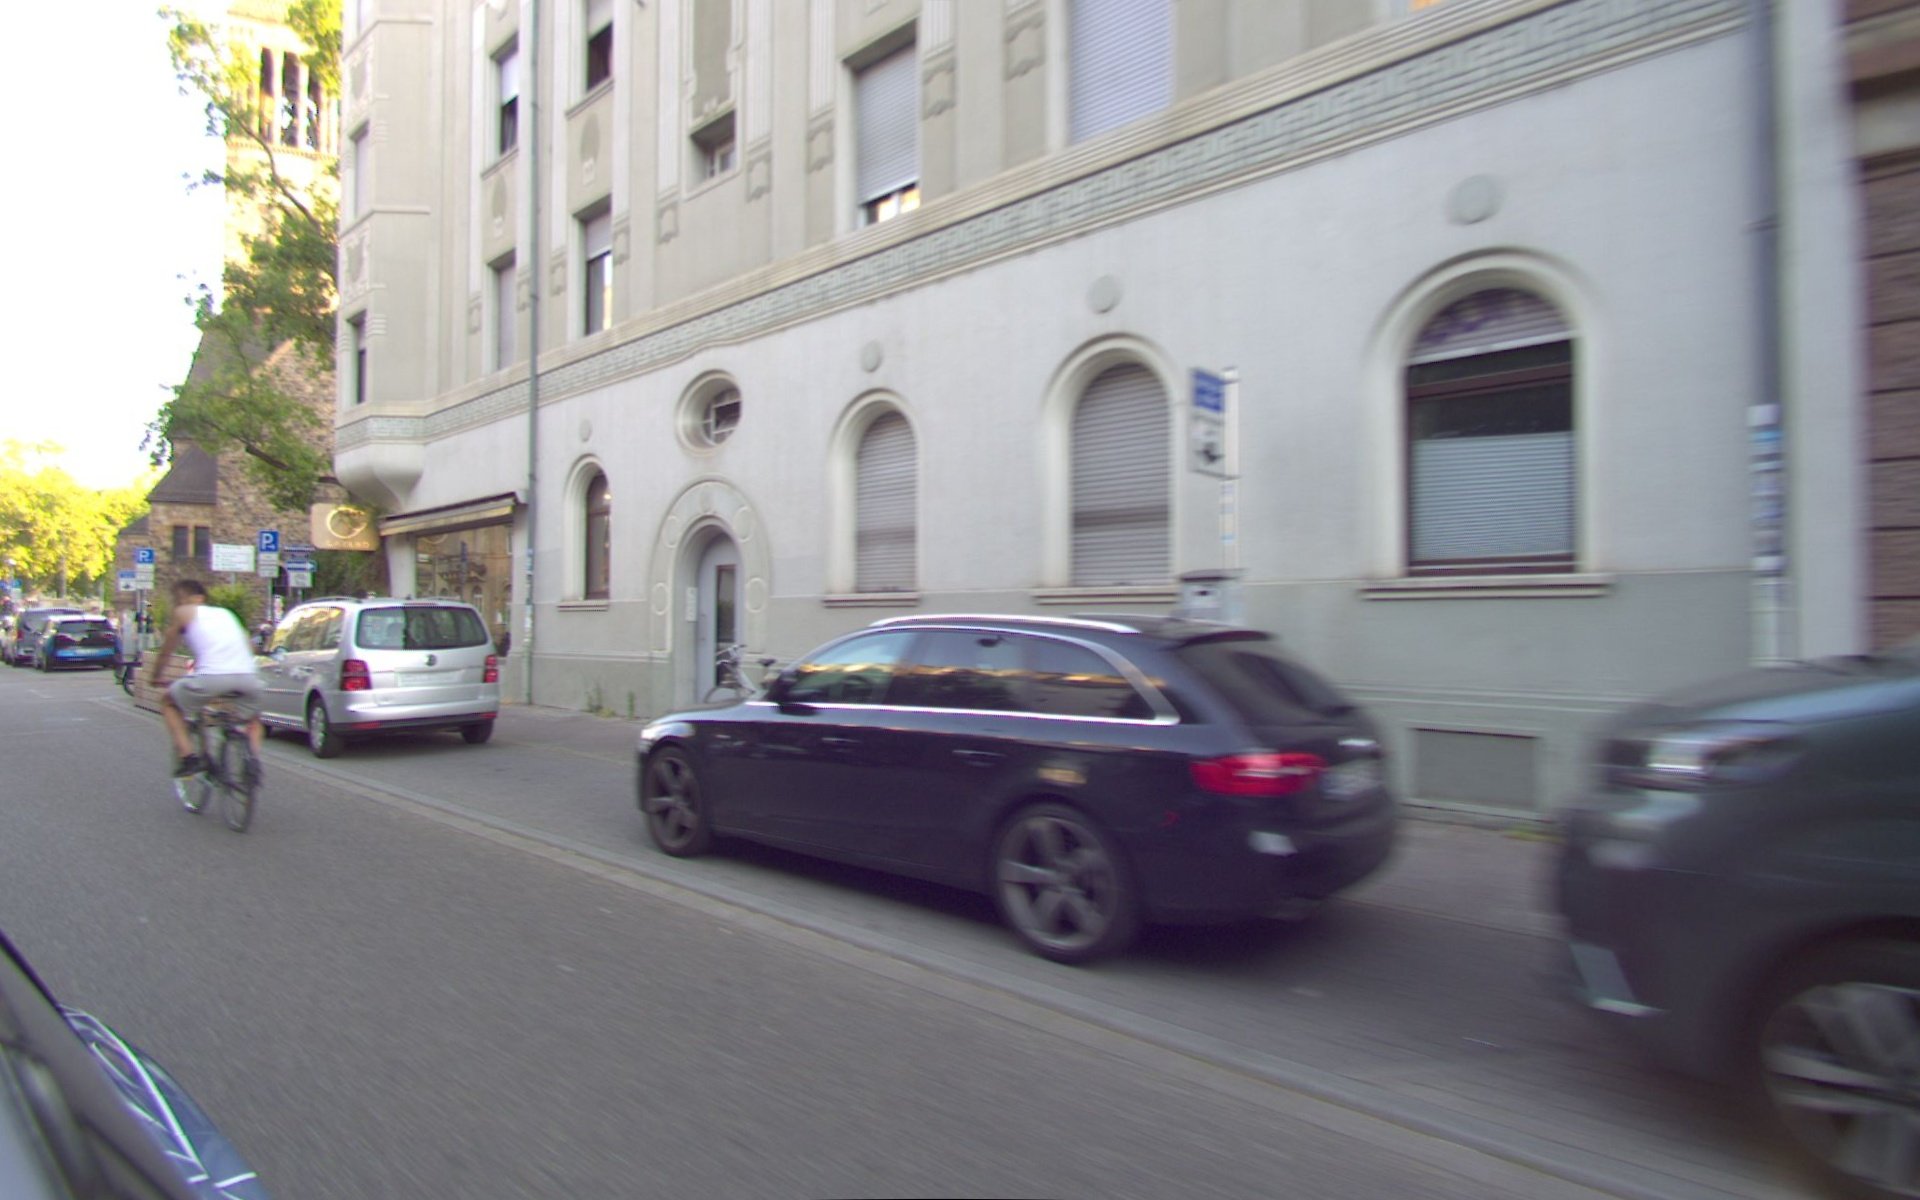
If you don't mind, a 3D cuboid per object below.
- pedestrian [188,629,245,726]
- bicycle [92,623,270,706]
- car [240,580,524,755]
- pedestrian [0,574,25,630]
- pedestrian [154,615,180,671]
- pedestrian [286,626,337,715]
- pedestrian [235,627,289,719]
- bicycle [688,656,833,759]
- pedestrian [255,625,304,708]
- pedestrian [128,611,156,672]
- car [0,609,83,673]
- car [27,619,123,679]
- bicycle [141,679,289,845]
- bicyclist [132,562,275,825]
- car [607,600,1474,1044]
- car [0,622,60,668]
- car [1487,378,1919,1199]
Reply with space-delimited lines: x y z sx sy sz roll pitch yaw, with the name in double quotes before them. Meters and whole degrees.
"pedestrian" -10.618 1.086 14.464 0.496 1.333 0.564 -1 0 41
"bicycle" -14.307 1.152 18.694 2.580 1.409 0.603 0 0 -35
"car" -6.698 0.669 11.556 3.916 1.660 1.707 -1 -1 42
"pedestrian" -47.543 0.102 50.356 1.011 2.761 1.426 -1 0 41
"pedestrian" -23.653 1.270 30.186 0.562 1.618 0.501 -1 0 41
"pedestrian" -10.137 1.084 15.818 0.496 1.333 0.564 -1 0 41
"pedestrian" -10.557 1.087 15.314 0.496 1.333 0.564 -1 0 41
"bicycle" -2.174 1.112 10.847 1.895 0.951 0.471 -1 0 41
"pedestrian" -11.353 1.095 16.882 0.496 1.333 0.564 -1 0 41
"pedestrian" -23.998 1.208 29.692 0.562 1.746 0.559 -1 0 41
"car" -29.504 1.234 32.415 4.458 1.885 1.761 -1 0 44
"car" -25.632 1.361 29.270 4.001 1.558 1.761 -1 0 44
"bicycle" -5.407 1.099 7.296 1.895 0.951 0.471 -1 0 41
"bicyclist" -5.347 0.610 7.144 1.003 1.705 0.616 -1 0 41
"car" 0.102 0.771 5.513 4.479 1.441 1.907 -1 -2 42
"car" -34.807 1.616 37.471 3.999 1.558 1.762 -1 0 42
"car" 3.885 0.453 1.807 4.903 1.897 1.907 -1 -2 42
